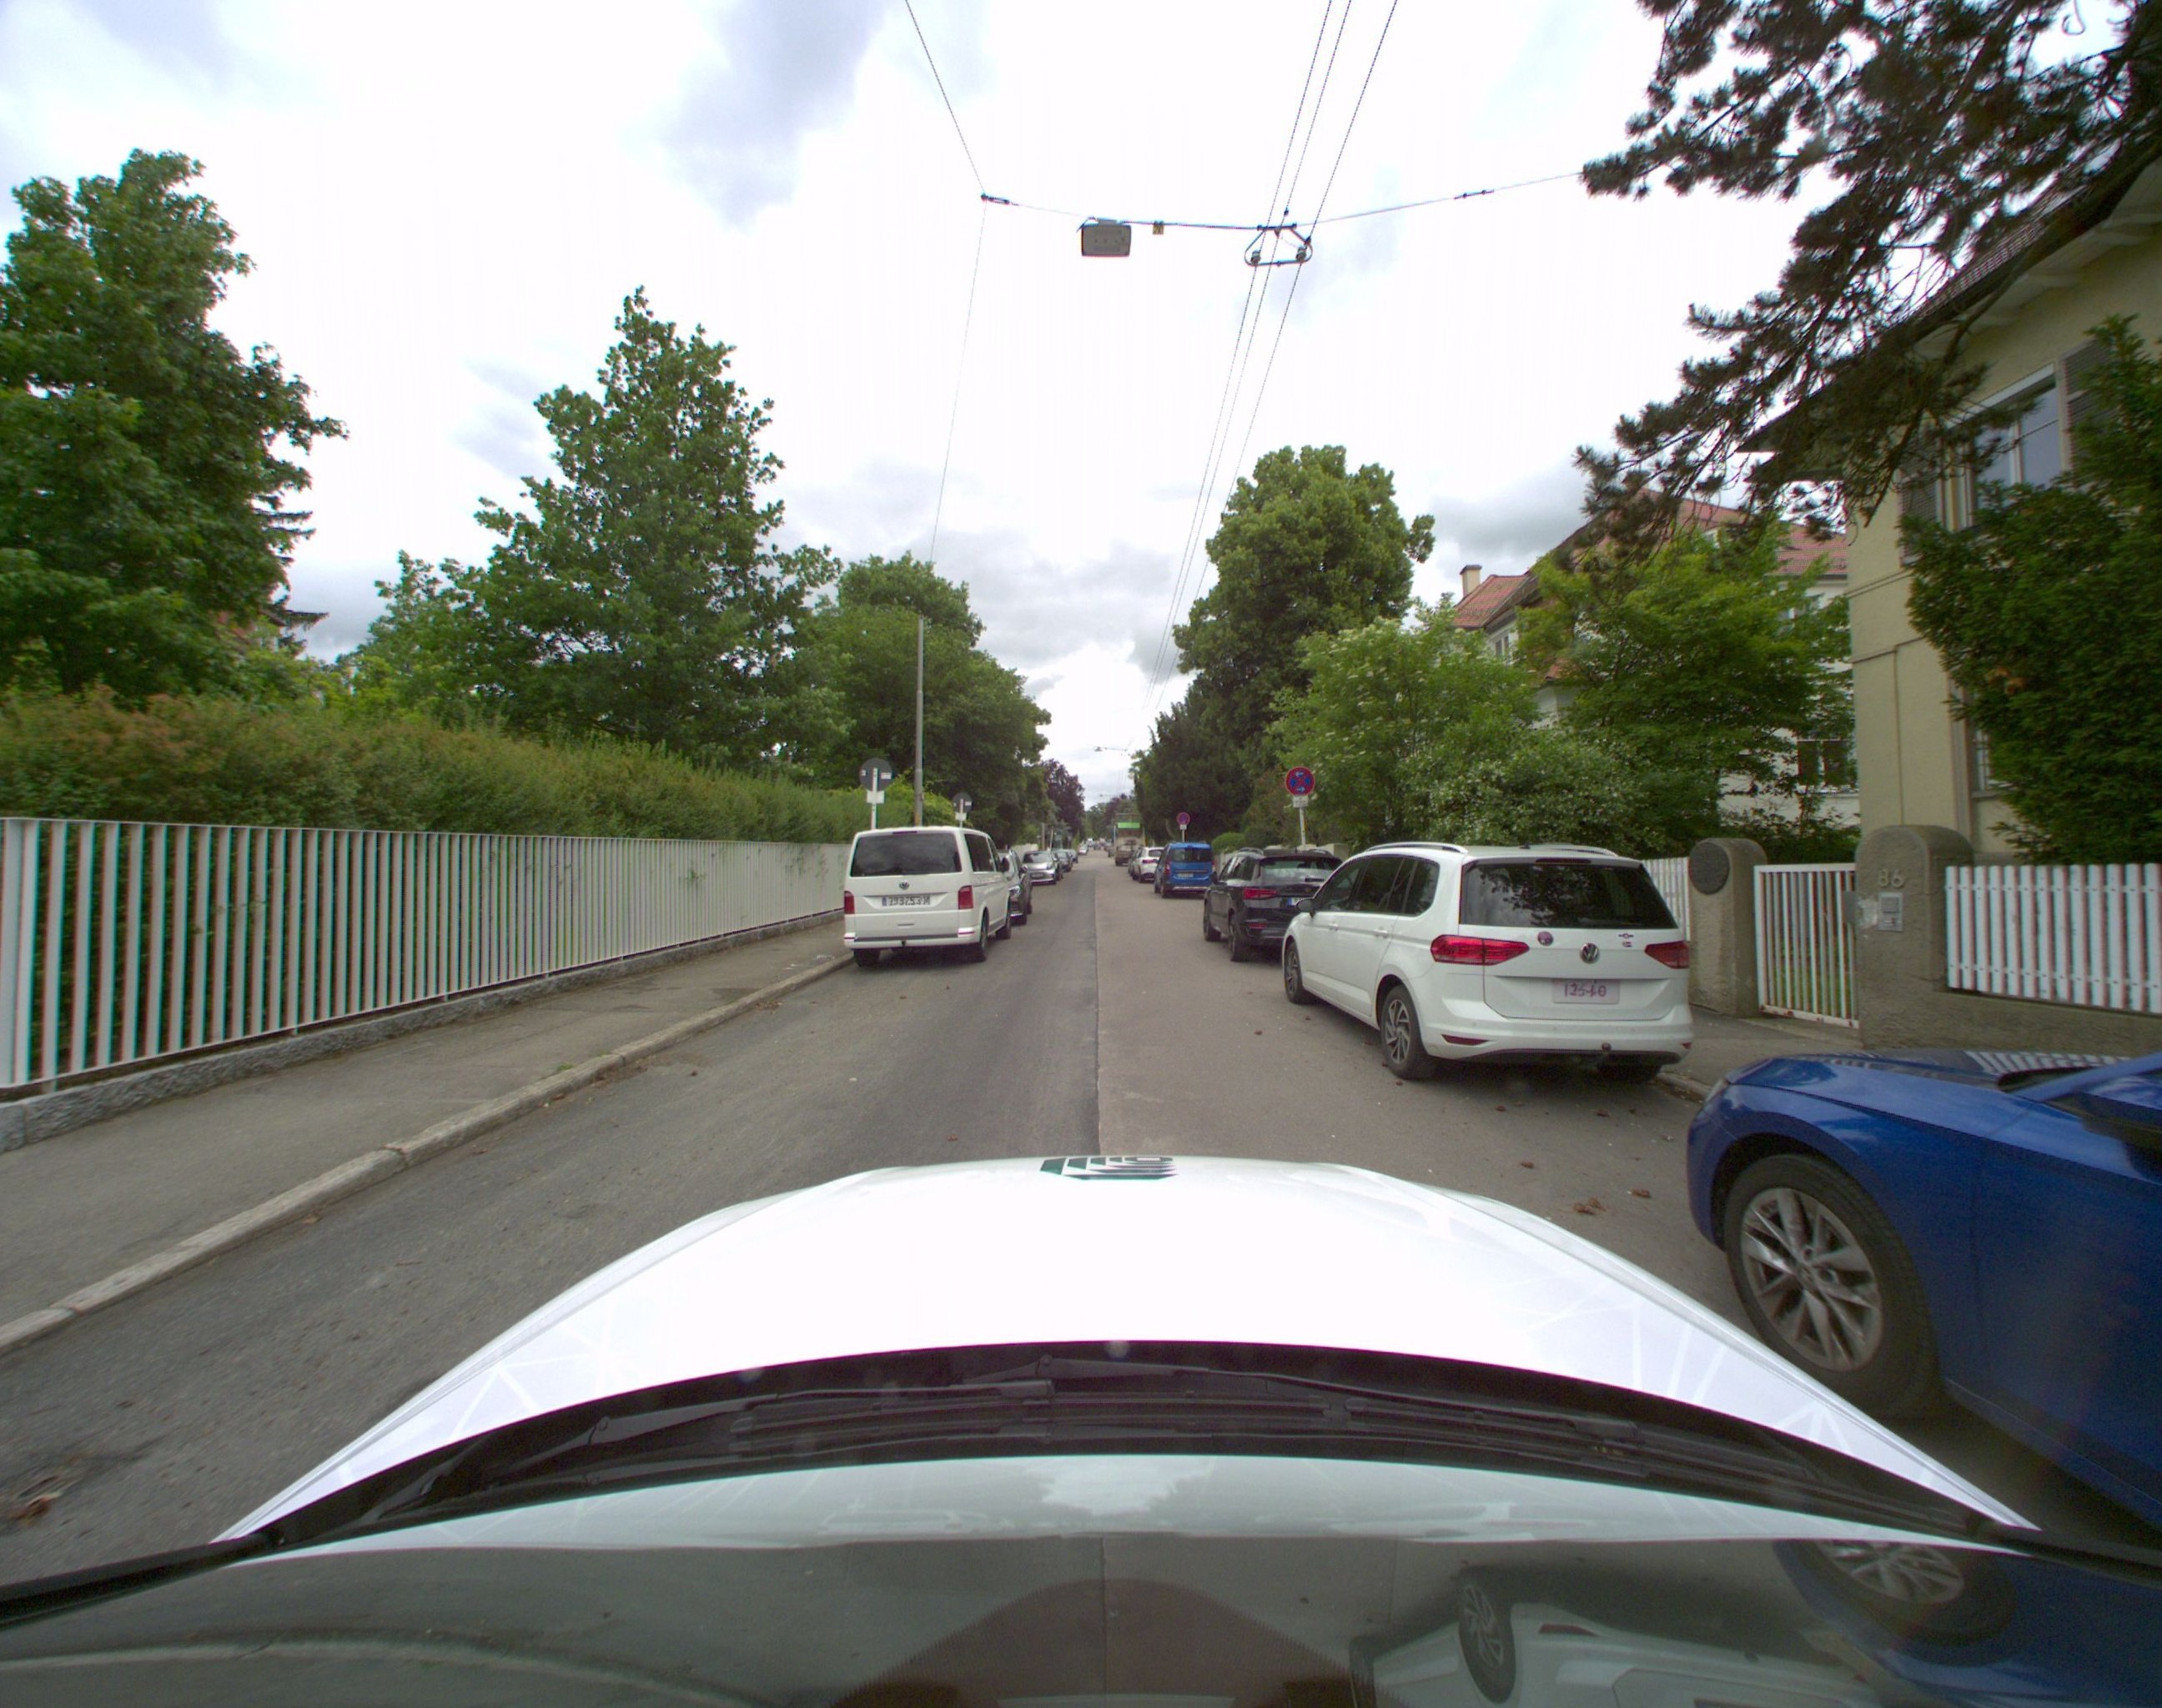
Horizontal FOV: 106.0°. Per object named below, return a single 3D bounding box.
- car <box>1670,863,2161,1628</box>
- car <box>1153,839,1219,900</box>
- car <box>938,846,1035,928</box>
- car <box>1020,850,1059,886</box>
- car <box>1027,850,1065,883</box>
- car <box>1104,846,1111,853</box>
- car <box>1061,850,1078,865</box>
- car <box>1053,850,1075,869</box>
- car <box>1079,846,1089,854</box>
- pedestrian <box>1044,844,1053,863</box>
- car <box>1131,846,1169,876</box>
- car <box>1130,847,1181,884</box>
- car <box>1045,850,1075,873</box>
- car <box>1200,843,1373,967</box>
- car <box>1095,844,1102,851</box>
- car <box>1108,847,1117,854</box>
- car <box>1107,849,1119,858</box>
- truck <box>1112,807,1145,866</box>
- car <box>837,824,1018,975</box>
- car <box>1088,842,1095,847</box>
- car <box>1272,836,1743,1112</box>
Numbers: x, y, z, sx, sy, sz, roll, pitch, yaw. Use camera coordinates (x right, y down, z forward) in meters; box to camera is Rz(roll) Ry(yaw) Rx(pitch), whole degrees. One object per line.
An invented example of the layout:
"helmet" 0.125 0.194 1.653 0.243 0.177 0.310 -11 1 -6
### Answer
"car" 2.877 0.754 0.874 1.641 1.458 4.052 1 -1 1
"car" 3.447 0.461 27.323 1.677 1.829 4.157 2 1 0
"car" -2.066 0.669 18.942 1.786 1.623 4.341 -2 0 -1
"car" -1.893 0.622 37.518 1.618 1.533 2.960 -3 0 -2
"car" -1.766 0.608 42.028 1.649 1.481 3.889 -3 0 1
"car" 6.234 -1.103 191.858 1.782 1.529 3.736 0 0 2
"car" -1.136 0.302 82.195 1.632 1.395 3.988 -2 0 0
"car" -1.363 0.419 66.969 1.590 1.433 4.002 -2 0 2
"car" 0.624 -0.722 158.603 1.704 1.586 4.004 0 0 4
"pedestrian" -3.528 -0.026 88.486 0.850 2.013 0.700 1 0 -4
"car" 3.739 0.358 44.813 1.693 1.570 4.307 -1 0 -1
"car" 3.421 0.483 38.252 1.753 1.606 4.571 1 0 -3
"car" -1.383 0.494 55.407 1.634 1.422 4.553 -3 0 3
"car" 3.037 0.699 12.904 1.744 1.608 4.076 2 0 1
"car" 4.320 -1.650 199.801 1.628 1.701 3.494 0 1 0
"car" 6.968 -0.826 182.346 1.804 1.335 3.632 1 1 0
"car" 5.412 -0.084 138.522 1.773 1.489 3.999 0 0 0
"truck" 3.949 -1.425 68.730 2.515 4.748 7.190 1 0 2
"car" -2.211 0.619 13.100 1.848 1.913 4.620 -3 0 1
"car" 3.197 -2.854 239.484 1.720 1.407 3.809 0 0 5
"car" 3.061 0.719 7.023 1.779 1.603 4.303 2 0 0
